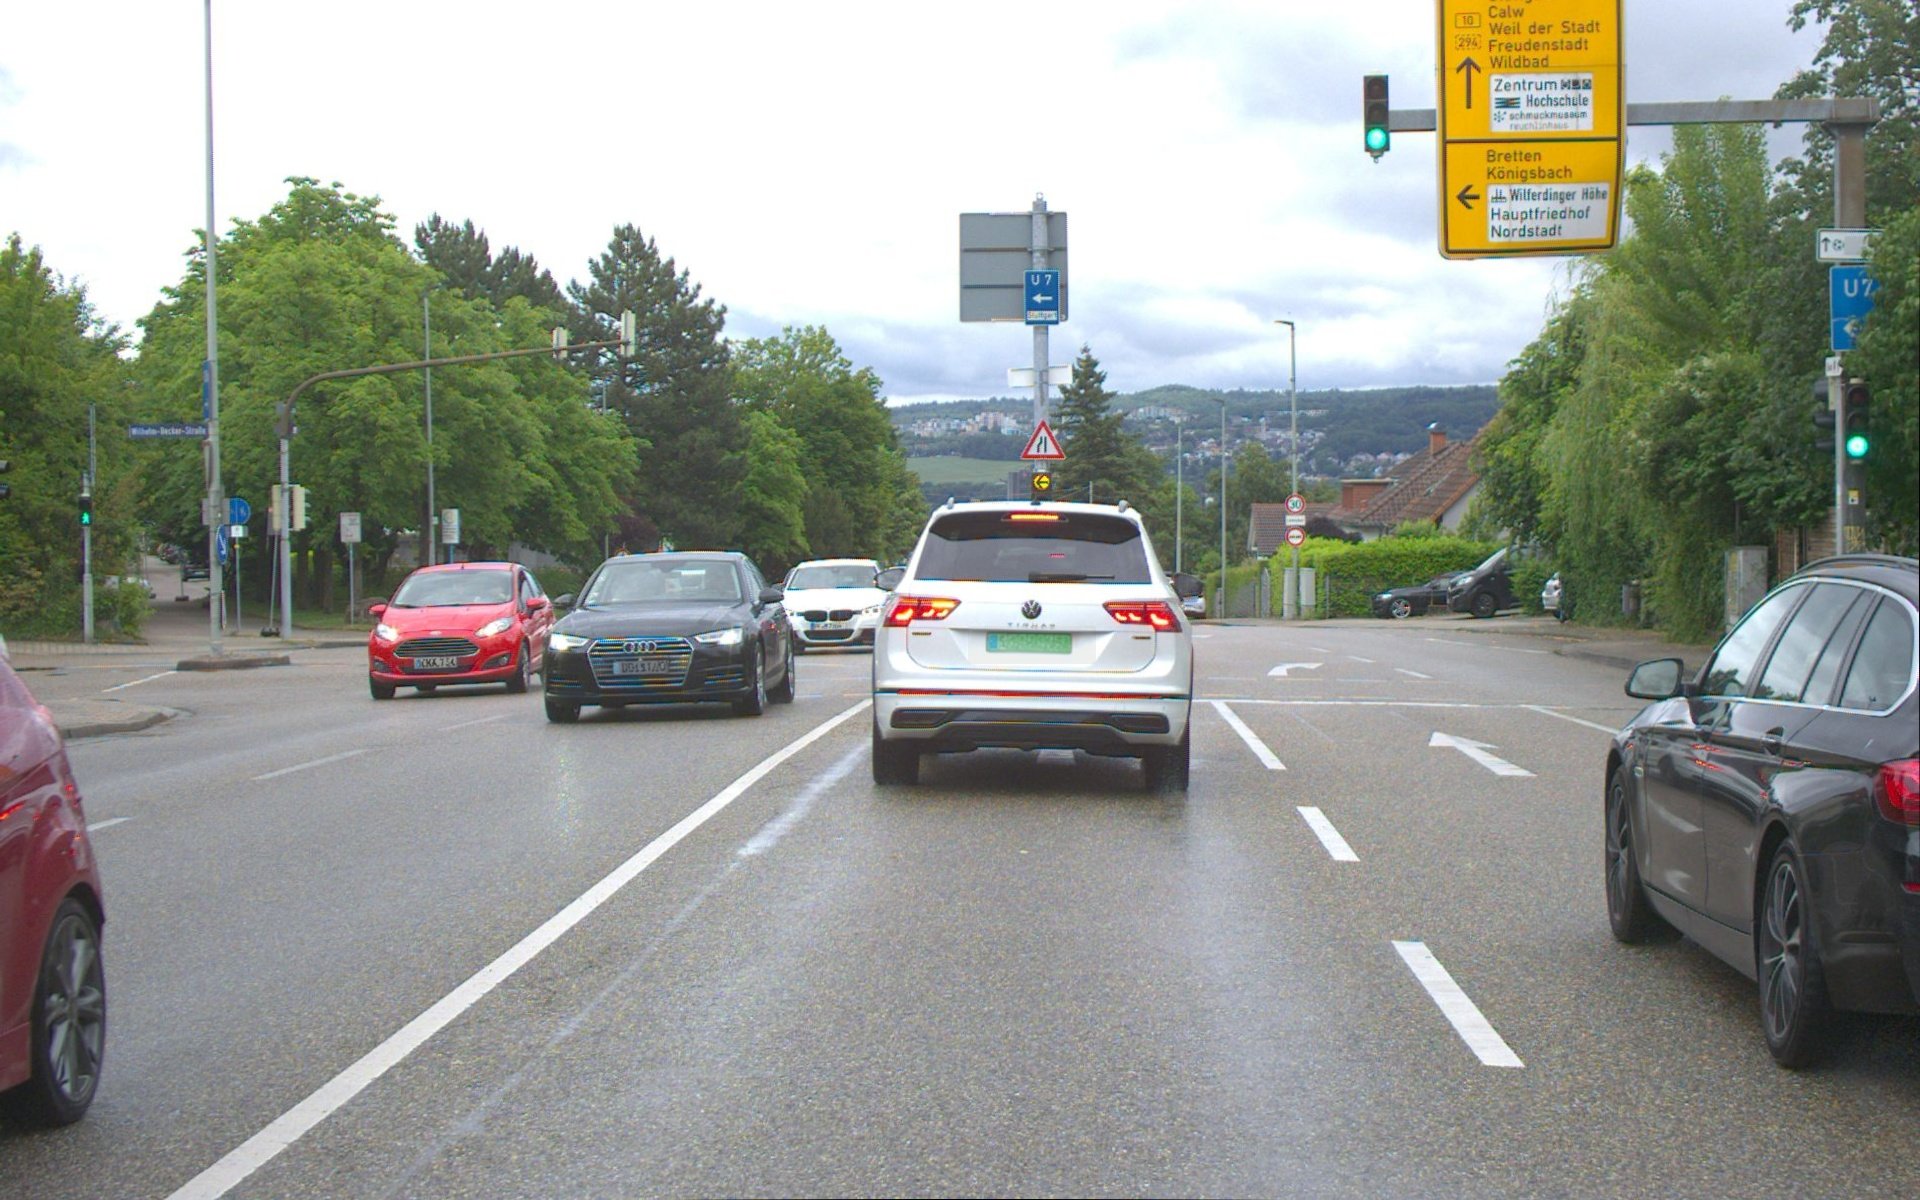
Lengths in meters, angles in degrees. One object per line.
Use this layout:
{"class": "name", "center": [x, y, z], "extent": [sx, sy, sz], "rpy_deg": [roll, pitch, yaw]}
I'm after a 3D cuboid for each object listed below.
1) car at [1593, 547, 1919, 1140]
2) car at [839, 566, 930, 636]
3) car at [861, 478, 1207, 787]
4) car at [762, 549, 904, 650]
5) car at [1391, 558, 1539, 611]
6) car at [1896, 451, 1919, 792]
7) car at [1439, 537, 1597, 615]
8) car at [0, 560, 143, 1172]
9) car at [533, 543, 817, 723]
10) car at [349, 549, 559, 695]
{"class": "car", "center": [3.251, 0.631, 10.553], "extent": [1.899, 1.436, 4.000], "rpy_deg": [4, 1, 2]}
{"class": "car", "center": [-1.686, -0.003, 77.849], "extent": [1.775, 1.453, 4.549], "rpy_deg": [-1, 1, 2]}
{"class": "car", "center": [0.468, 0.161, 20.750], "extent": [1.869, 1.668, 4.000], "rpy_deg": [1, 0, 2]}
{"class": "car", "center": [-1.901, -0.036, 52.524], "extent": [1.749, 1.380, 4.411], "rpy_deg": [-2, 1, 3]}
{"class": "car", "center": [14.046, -0.433, 95.826], "extent": [3.988, 1.372, 1.585], "rpy_deg": [1, 1, 6]}
{"class": "car", "center": [6.195, 0.221, 17.467], "extent": [1.764, 1.870, 3.806], "rpy_deg": [0, 4, -1]}
{"class": "car", "center": [14.683, -0.642, 90.563], "extent": [3.988, 1.949, 1.585], "rpy_deg": [1, 1, 6]}
{"class": "car", "center": [-3.129, 0.677, 7.339], "extent": [1.681, 1.414, 3.841], "rpy_deg": [-2, 1, 2]}
{"class": "car", "center": [-2.403, 0.237, 30.037], "extent": [1.893, 1.399, 4.264], "rpy_deg": [-1, 1, 3]}
{"class": "car", "center": [-5.553, 0.201, 38.098], "extent": [1.632, 1.451, 3.702], "rpy_deg": [-2, 1, 2]}
